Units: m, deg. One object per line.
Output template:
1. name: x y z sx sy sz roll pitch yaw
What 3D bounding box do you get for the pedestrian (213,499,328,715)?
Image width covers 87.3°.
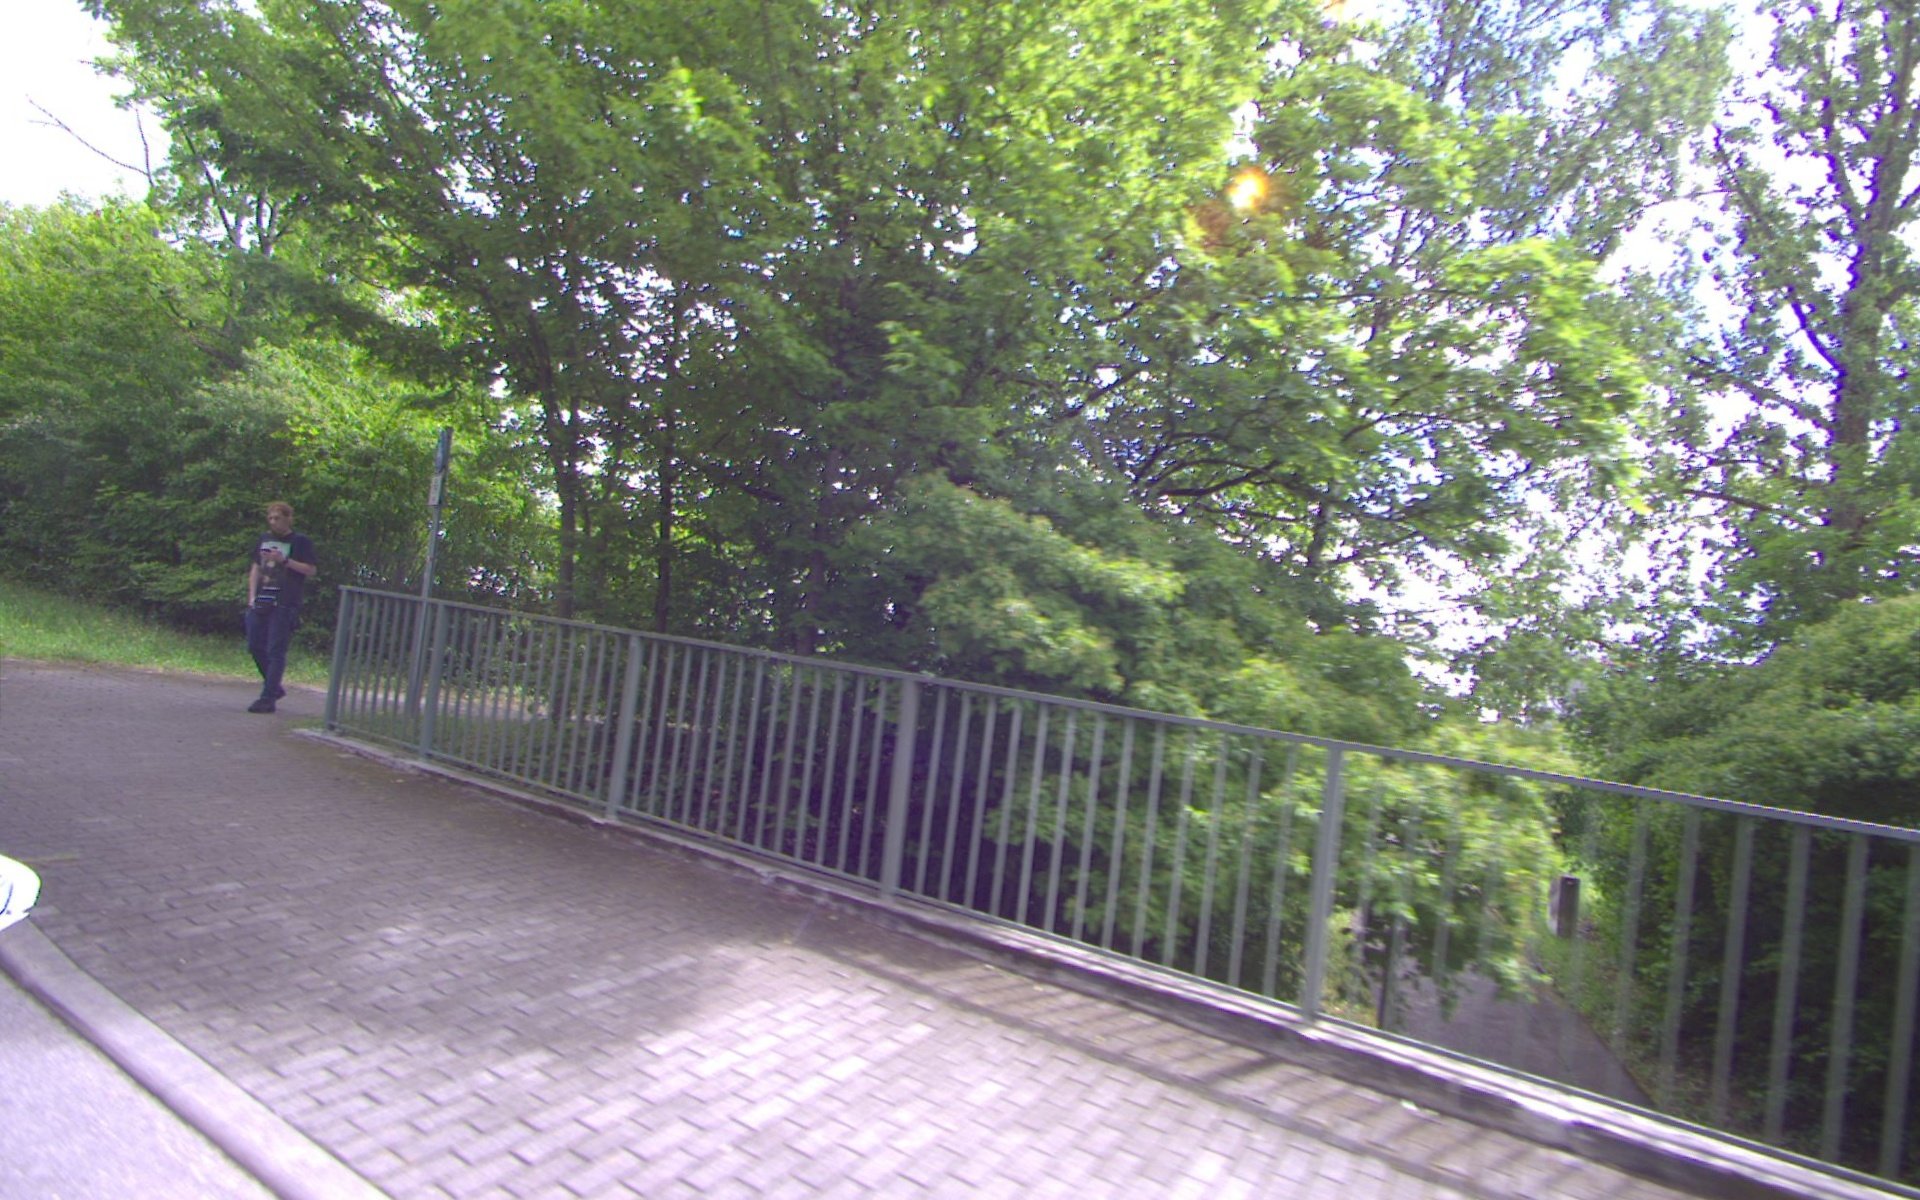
1. pedestrian: -6.139 0.067 9.000 0.582 1.803 0.677 8 -2 -29
